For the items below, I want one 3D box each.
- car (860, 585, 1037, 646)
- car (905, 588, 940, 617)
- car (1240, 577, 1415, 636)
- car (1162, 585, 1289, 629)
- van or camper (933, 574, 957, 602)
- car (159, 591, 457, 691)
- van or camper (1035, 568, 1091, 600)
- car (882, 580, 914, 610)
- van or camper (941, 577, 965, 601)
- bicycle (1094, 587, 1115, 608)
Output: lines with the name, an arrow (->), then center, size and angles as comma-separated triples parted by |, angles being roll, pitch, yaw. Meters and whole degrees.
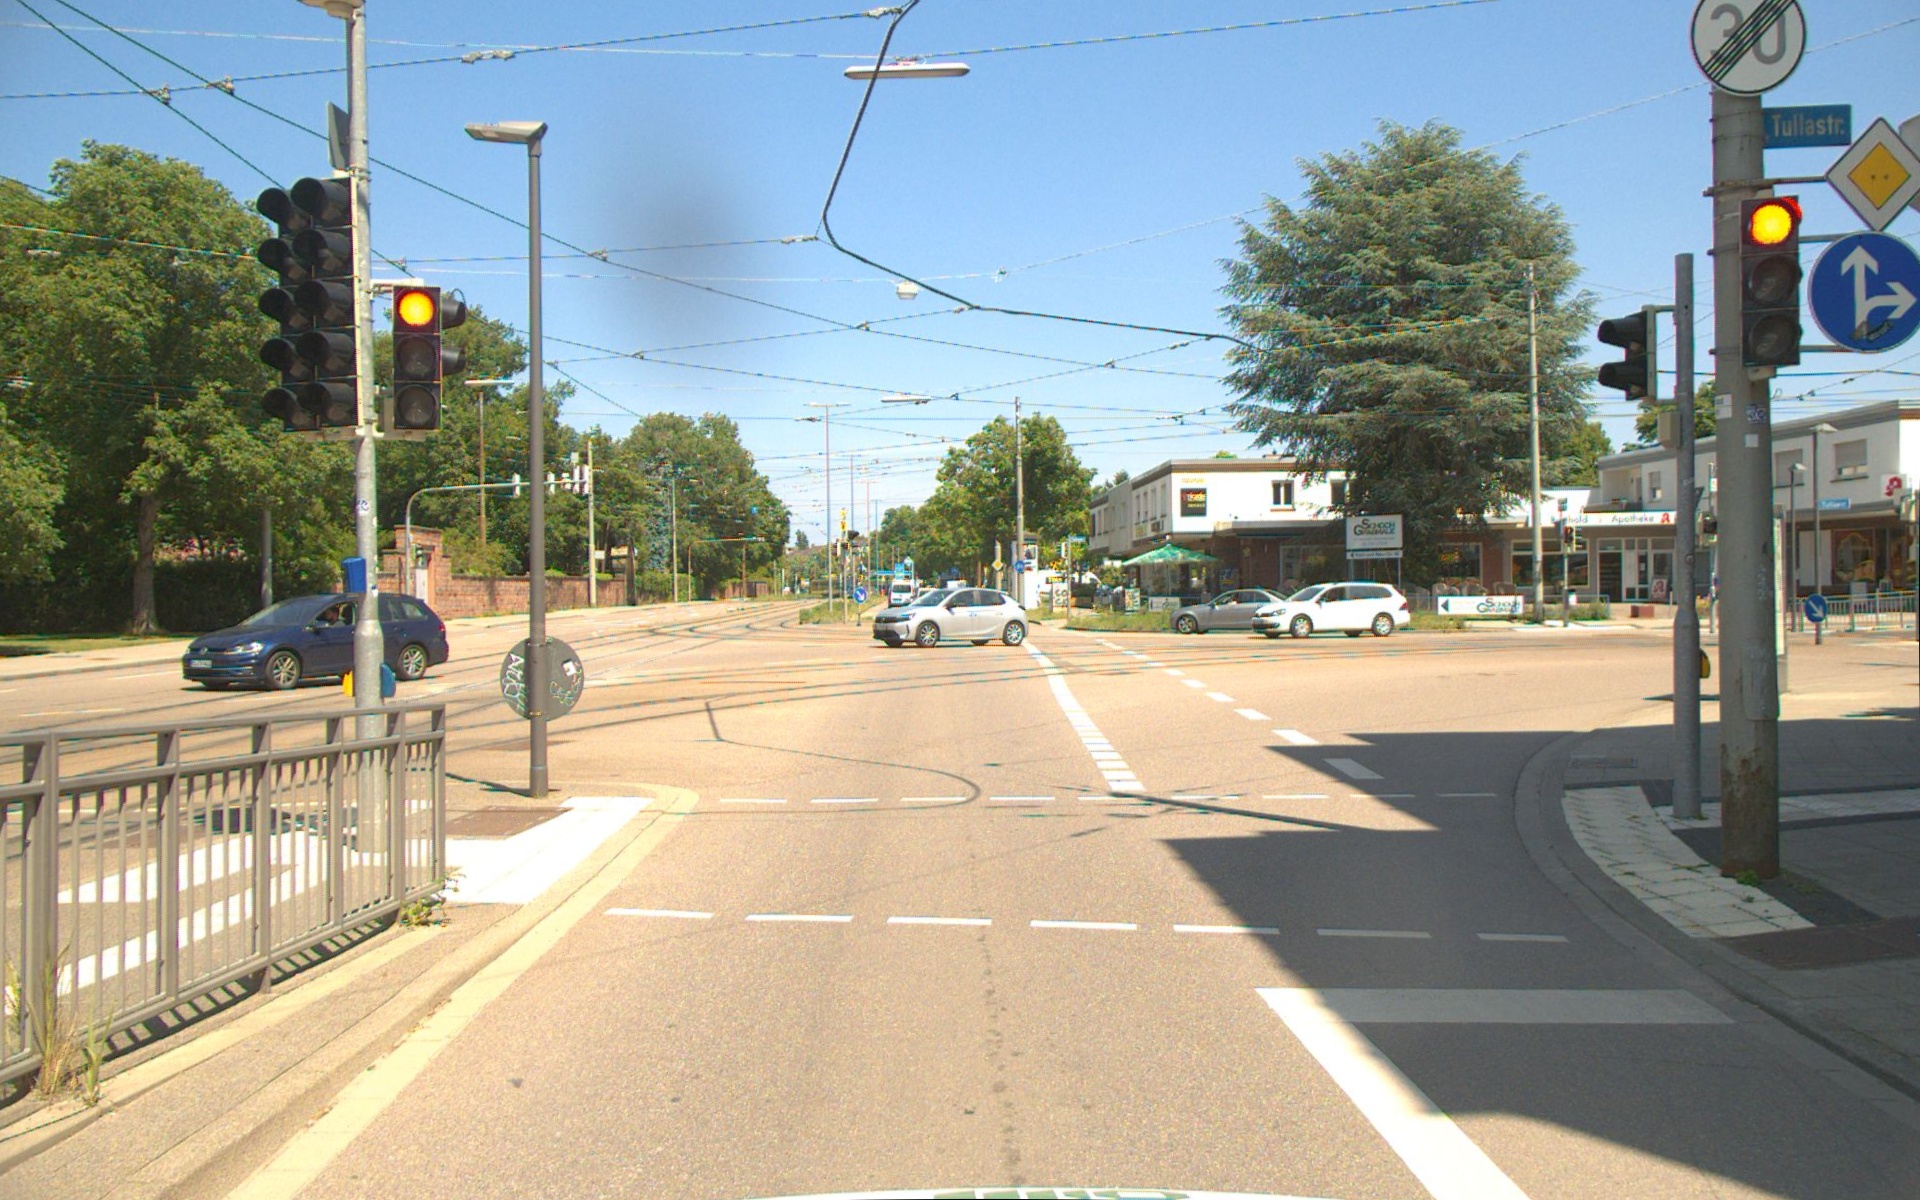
car -> -0.257, 0.345, 40.392 | 4.000, 1.386, 1.803 | -1, 0, -33
car -> -1.974, 0.096, 86.392 | 1.638, 1.460, 3.471 | -1, 0, -5
car -> 10.116, 0.155, 45.591 | 4.413, 1.516, 1.815 | -1, 0, -17
car -> 8.532, 0.214, 53.082 | 3.750, 1.375, 1.642 | -1, 0, 21
van or camper -> -1.384, -1.093, 152.848 | 1.954, 2.507, 3.997 | -1, 0, -4
car -> -10.568, 0.606, 27.172 | 1.820, 1.467, 4.473 | 0, 0, 27
van or camper -> 8.938, -1.408, 143.562 | 4.662, 2.717, 2.134 | -1, 0, -3
car -> -4.093, -0.331, 108.582 | 1.954, 1.892, 3.997 | -1, 0, -3
van or camper -> -0.567, -0.873, 130.391 | 1.883, 1.803, 3.999 | -1, 0, -1
bicycle -> 7.392, -0.151, 84.632 | 1.012, 1.032, 2.639 | -1, 0, 5
